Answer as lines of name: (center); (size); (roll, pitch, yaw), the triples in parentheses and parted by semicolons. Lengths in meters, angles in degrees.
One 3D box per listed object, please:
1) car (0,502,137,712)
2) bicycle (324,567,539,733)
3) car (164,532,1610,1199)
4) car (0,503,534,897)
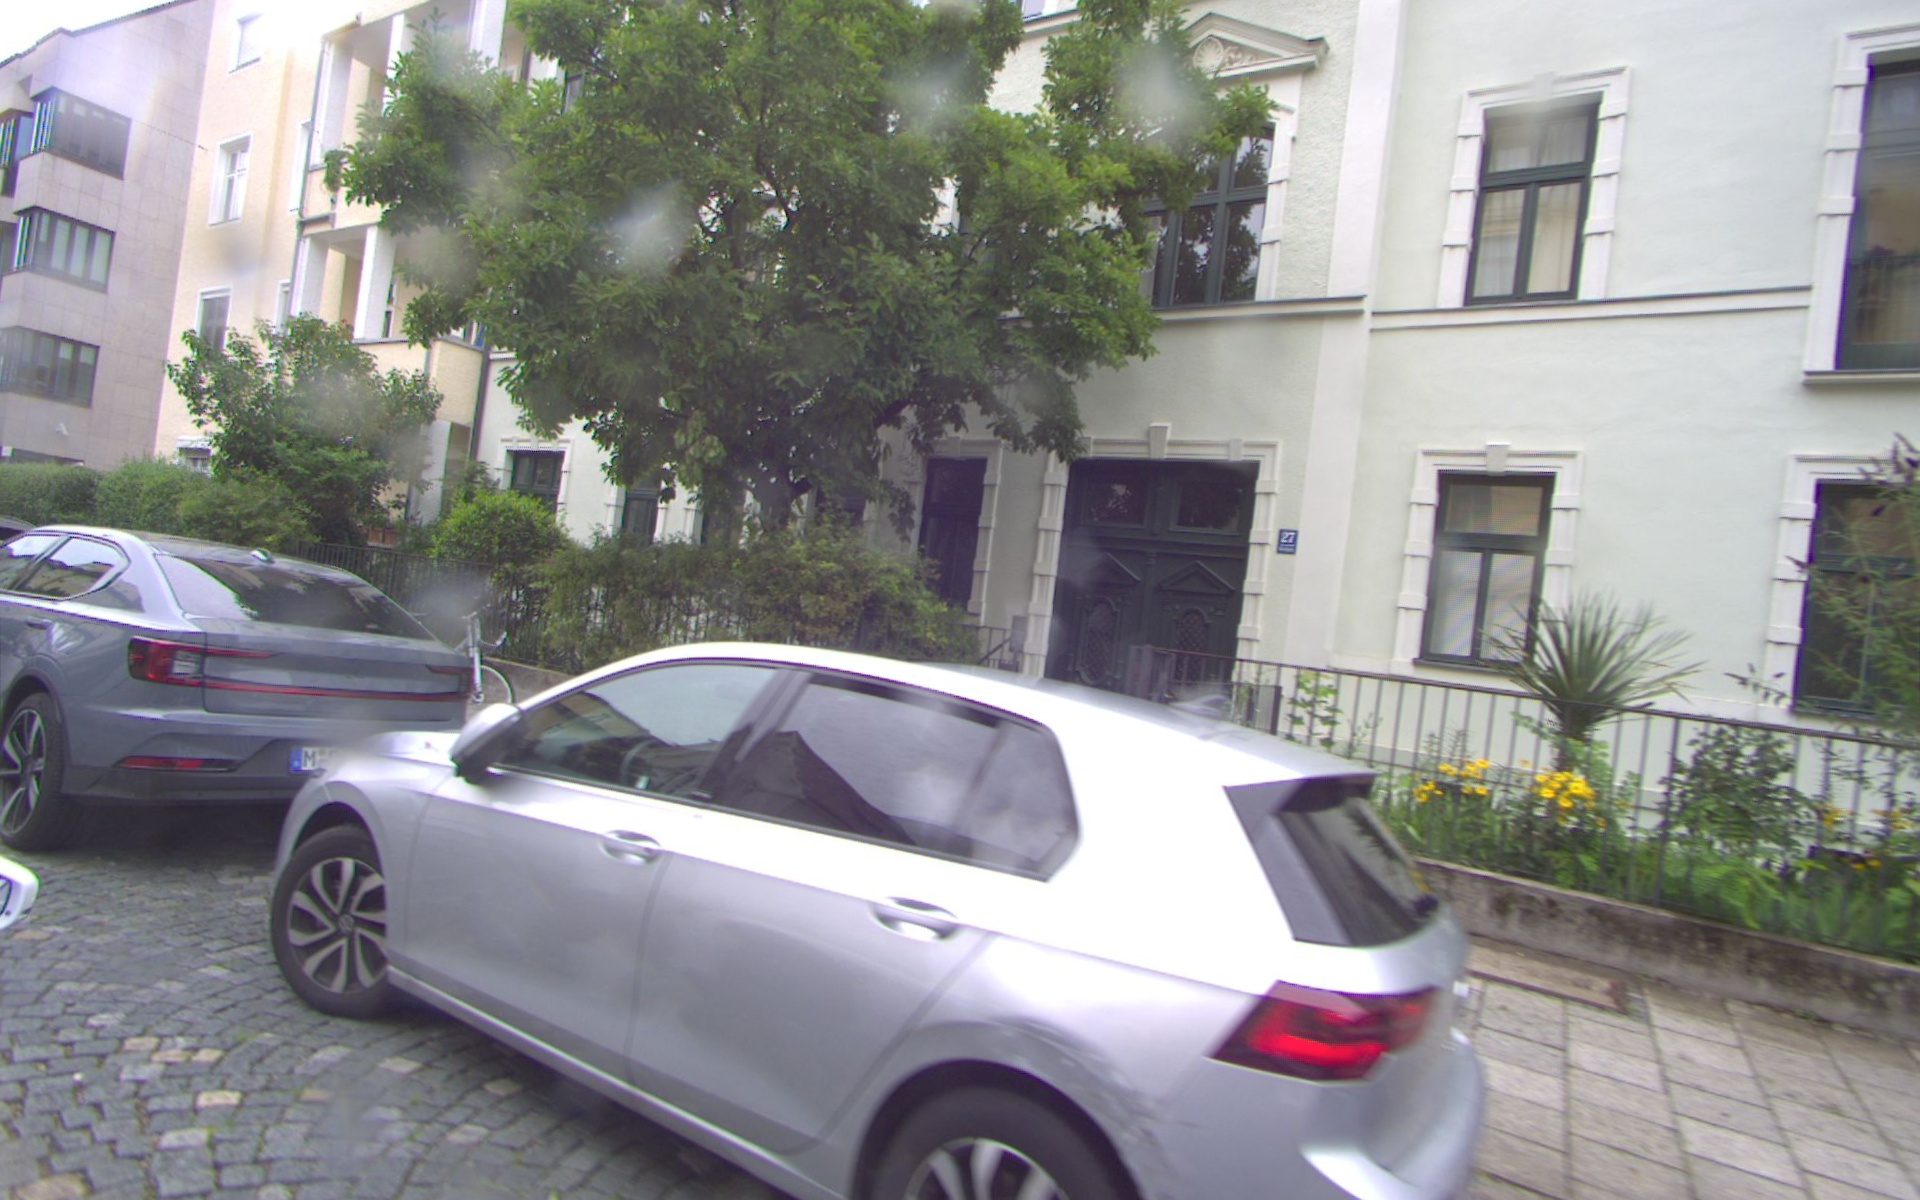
car: (-9.263, -0.219, 8.605); (4.967, 1.503, 1.824); (6, -5, 33)
bicycle: (-4.668, 0.430, 8.895); (1.617, 1.208, 0.582); (7, -1, 18)
car: (-0.568, 0.805, 3.343); (4.407, 1.475, 1.761); (6, -4, 33)
car: (-4.946, 0.332, 6.042); (4.735, 1.504, 1.888); (6, -4, 33)
